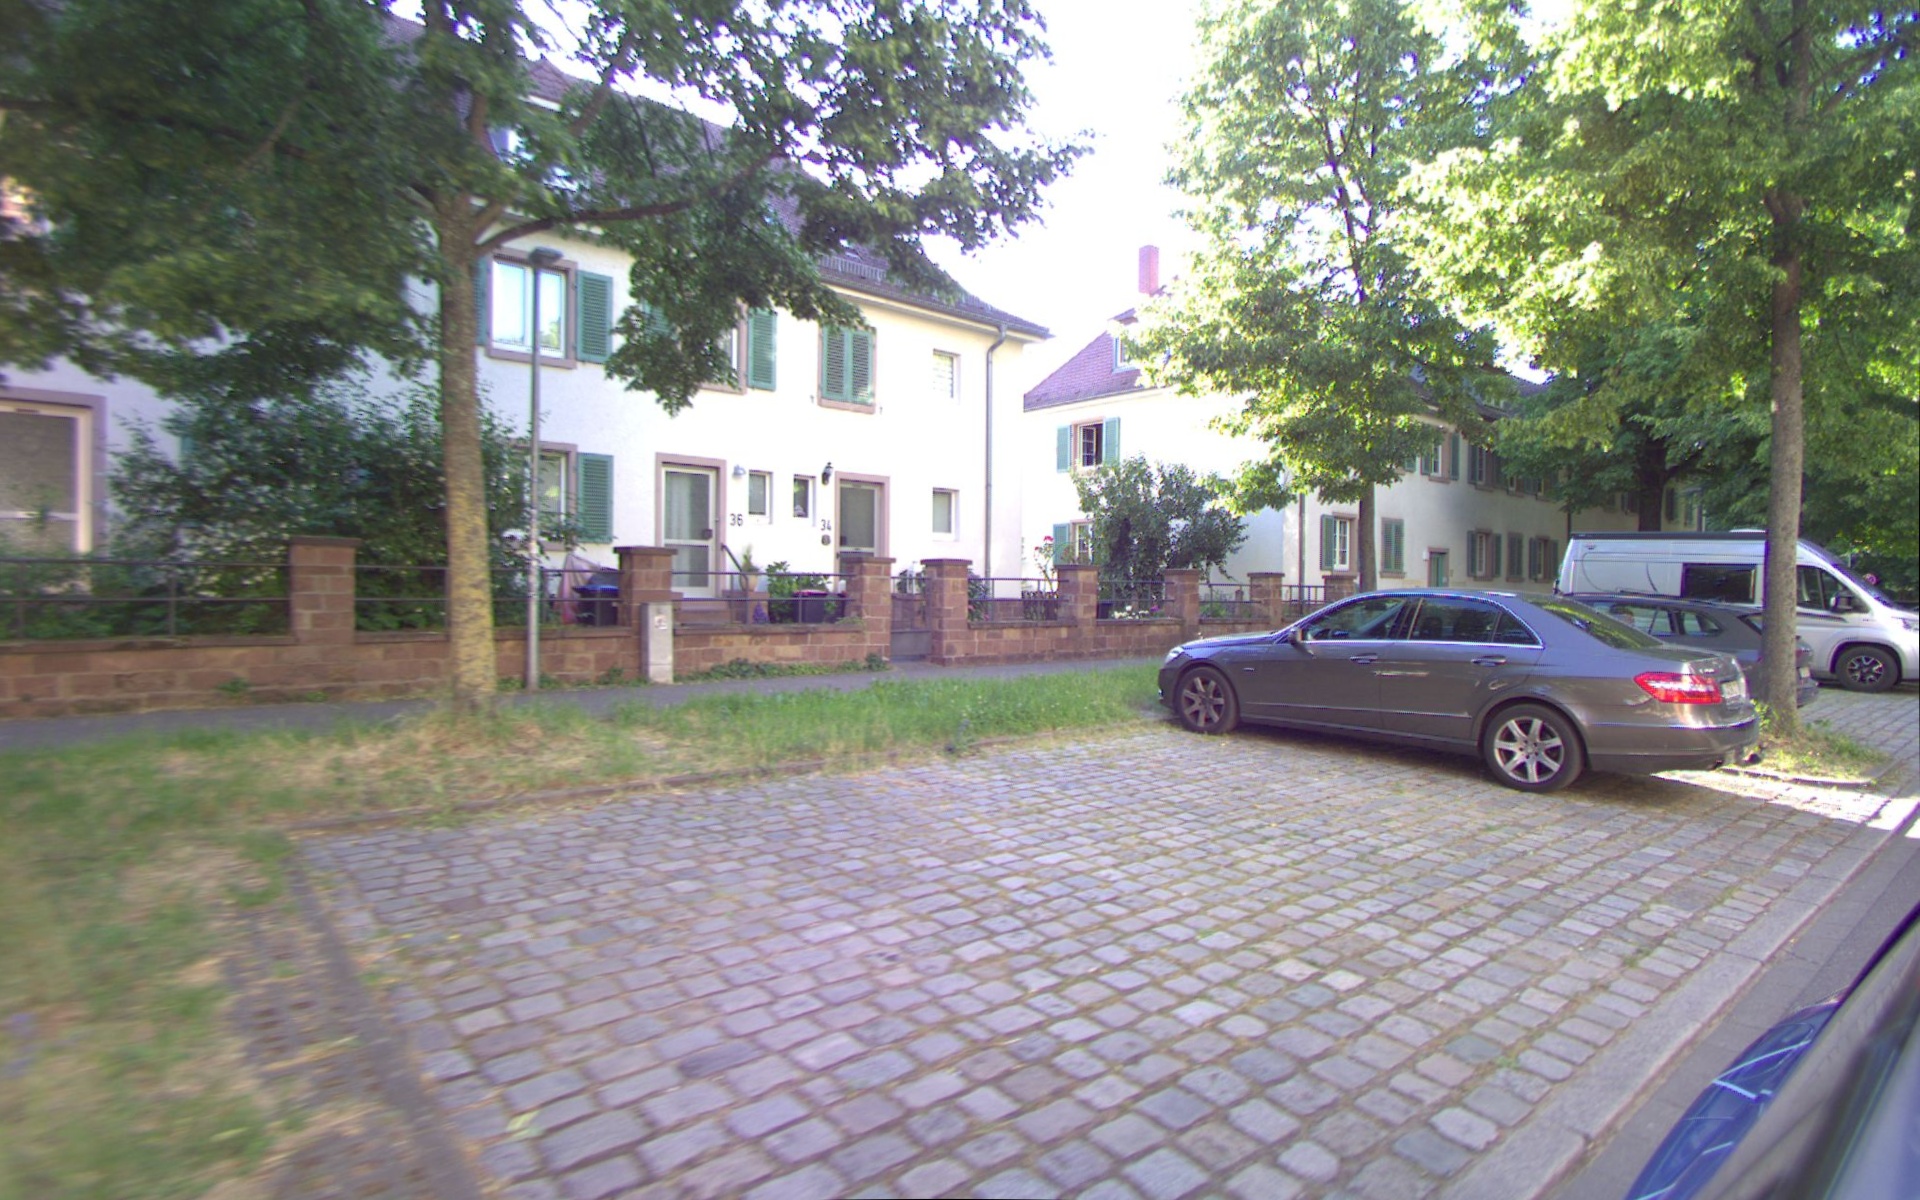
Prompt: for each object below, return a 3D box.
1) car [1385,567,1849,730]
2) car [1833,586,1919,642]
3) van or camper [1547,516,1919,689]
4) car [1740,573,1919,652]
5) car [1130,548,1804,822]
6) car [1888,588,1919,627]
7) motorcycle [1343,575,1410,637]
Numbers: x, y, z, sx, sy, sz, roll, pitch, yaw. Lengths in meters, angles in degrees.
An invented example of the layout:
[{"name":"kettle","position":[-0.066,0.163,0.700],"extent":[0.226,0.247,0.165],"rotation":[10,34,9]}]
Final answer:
[{"name":"car","position":[7.959,0.443,12.672],"extent":[1.796,1.453,4.487],"rotation":[0,4,-40]},{"name":"car","position":[28.622,0.433,29.963],"extent":[1.528,1.571,3.996],"rotation":[0,2,-40]},{"name":"van or camper","position":[13.833,-0.110,17.655],"extent":[2.124,2.546,5.733],"rotation":[0,4,-40]},{"name":"car","position":[22.913,0.291,25.677],"extent":[1.966,1.737,4.603],"rotation":[0,3,-42]},{"name":"car","position":[4.012,0.439,8.813],"extent":[1.862,1.558,4.847],"rotation":[0,4,-42]},{"name":"car","position":[39.660,0.330,40.241],"extent":[1.547,1.531,3.991],"rotation":[0,2,-44]},{"name":"motorcycle","position":[10.013,0.133,24.303],"extent":[1.981,1.424,0.660],"rotation":[-1,0,-41]}]
